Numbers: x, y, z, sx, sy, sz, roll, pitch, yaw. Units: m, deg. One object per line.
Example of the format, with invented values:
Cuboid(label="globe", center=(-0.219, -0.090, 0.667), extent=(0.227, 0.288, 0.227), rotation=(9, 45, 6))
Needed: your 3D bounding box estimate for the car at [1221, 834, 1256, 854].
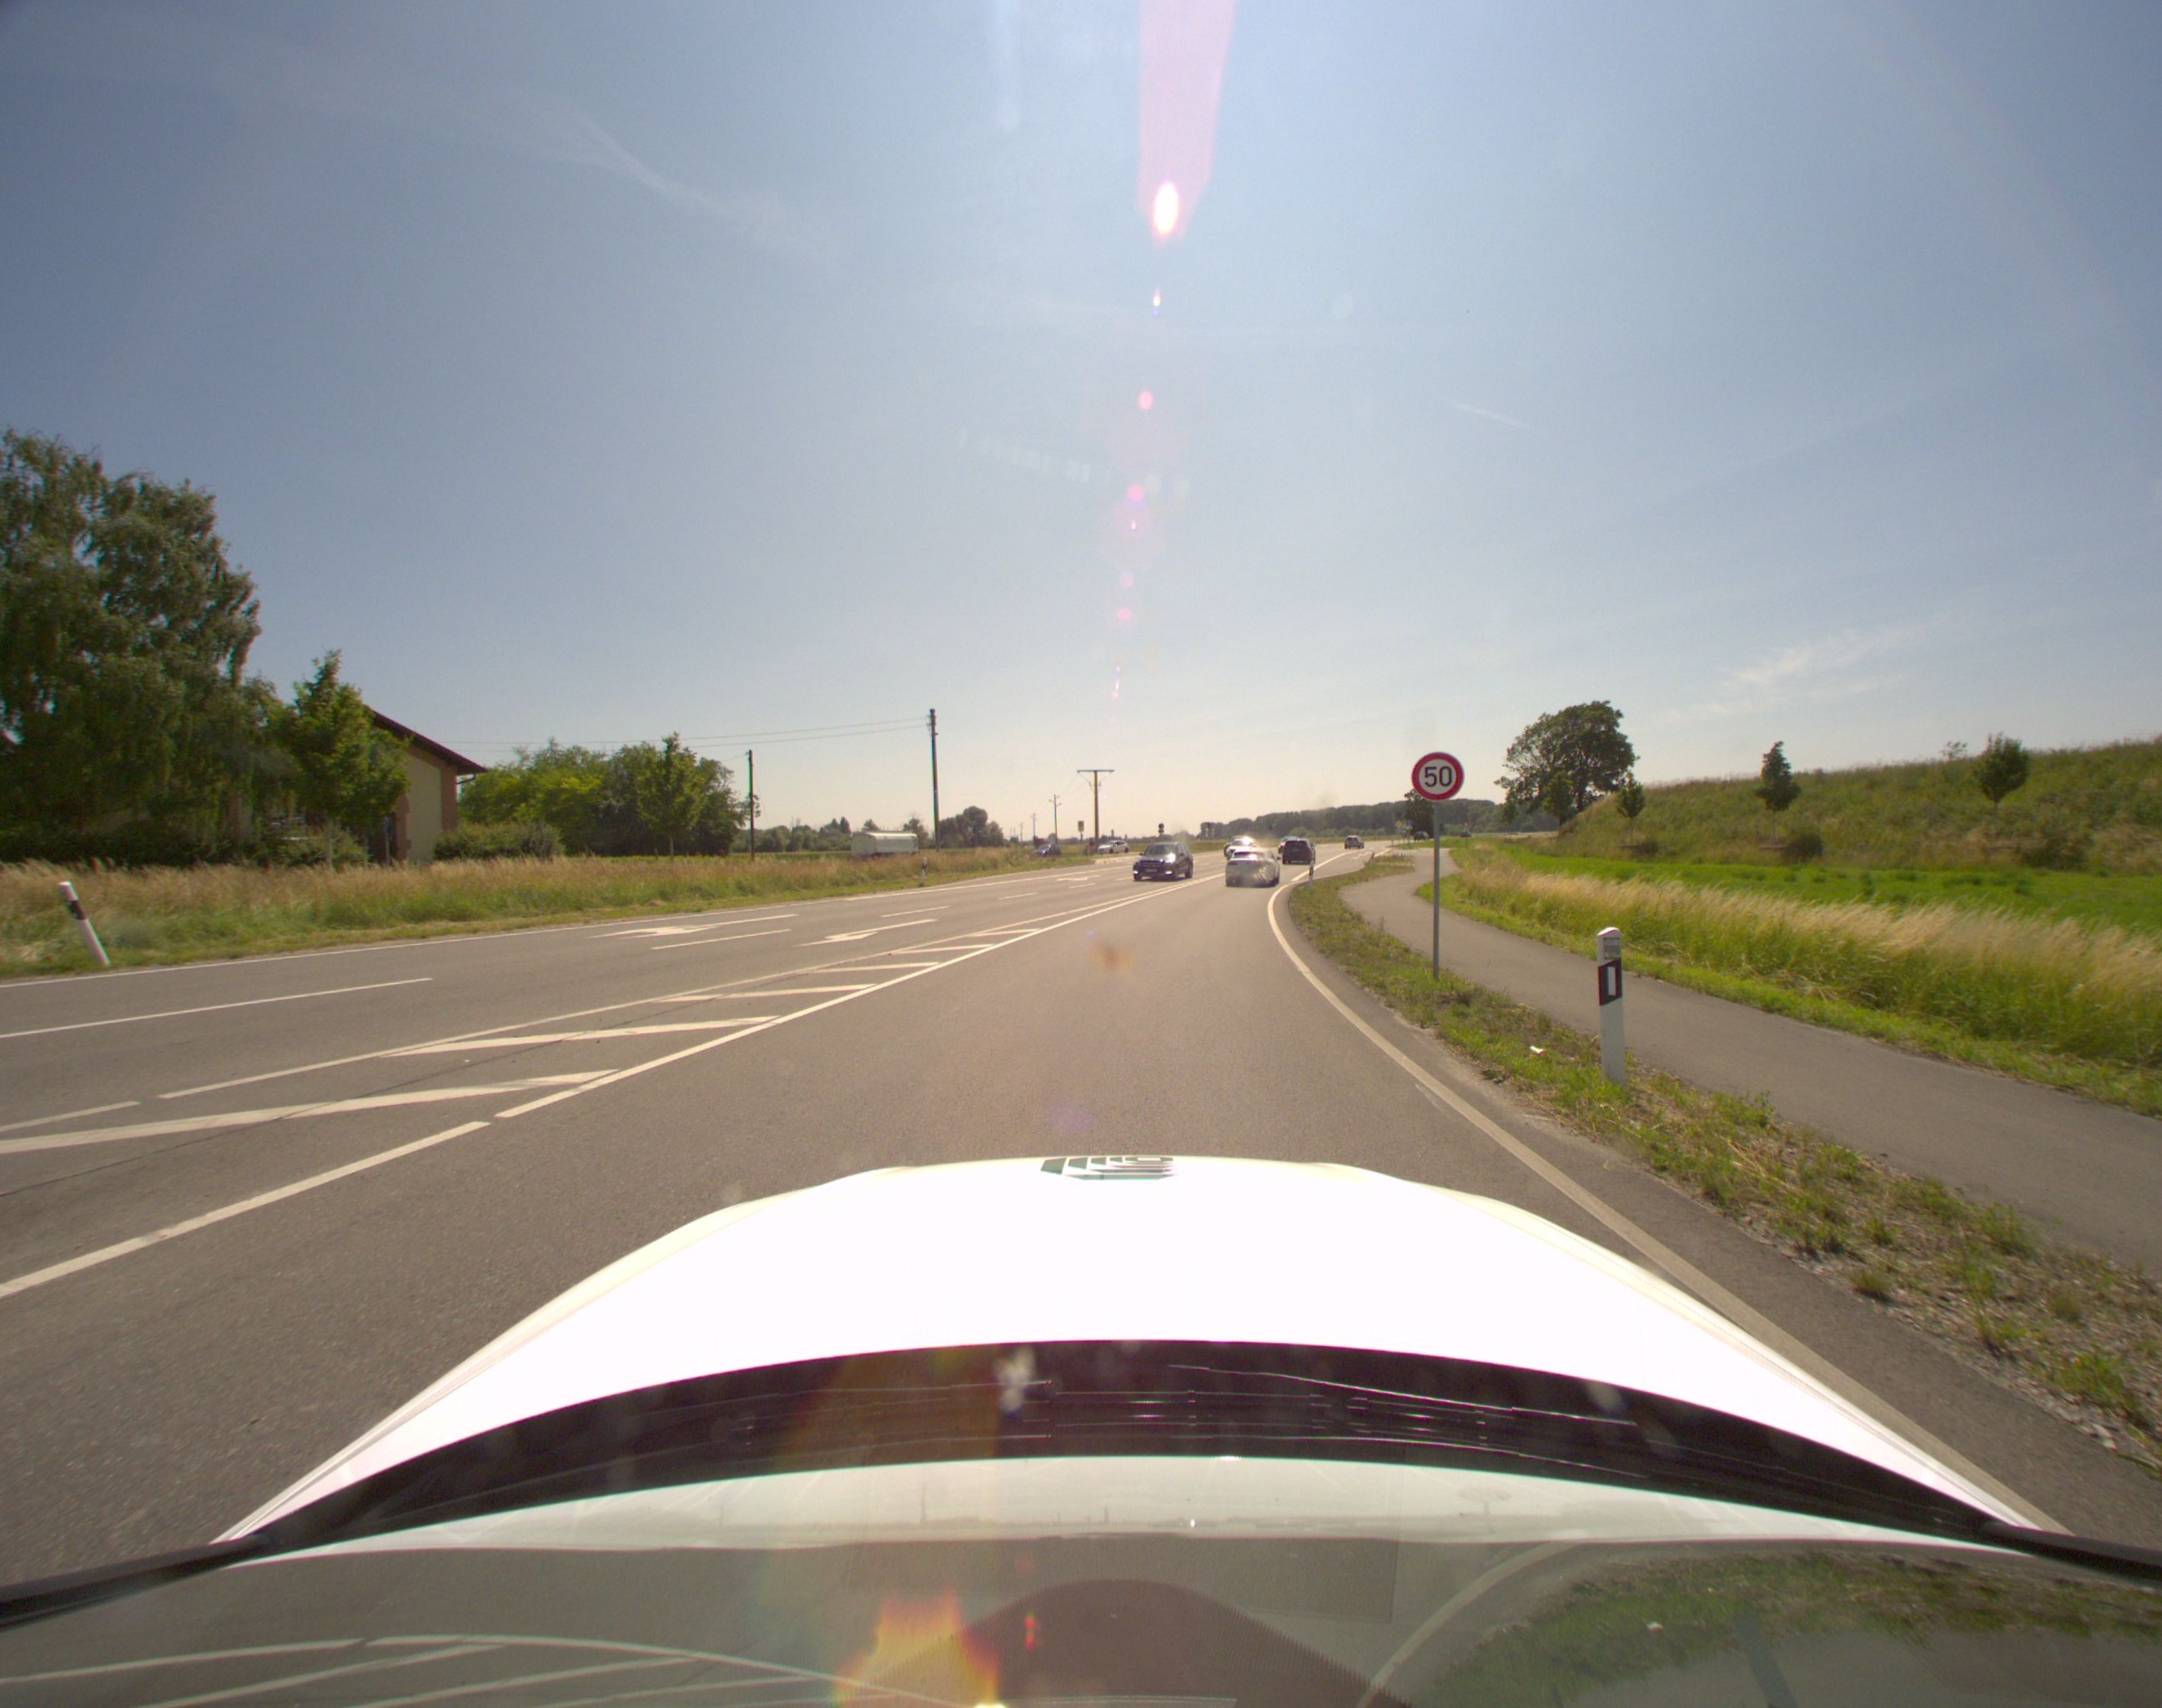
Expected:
Cuboid(label="car", center=(13.682, -0.889, 70.436), extent=(1.944, 1.650, 4.816), rotation=(0, 1, 23))

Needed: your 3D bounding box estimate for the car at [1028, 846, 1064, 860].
Cuboid(label="car", center=(-3.338, -0.110, 78.444), extent=(1.658, 1.387, 3.862), rotation=(0, 0, 28))

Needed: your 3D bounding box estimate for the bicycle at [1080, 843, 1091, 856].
Cuboid(label="bicycle", center=(0.437, -0.472, 82.313), extent=(0.486, 1.248, 1.520), rotation=(0, 0, 29))

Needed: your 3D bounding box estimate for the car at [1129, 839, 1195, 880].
Cuboid(label="car", center=(3.603, 0.180, 35.511), extent=(1.850, 1.650, 4.349), rotation=(0, 1, 19))

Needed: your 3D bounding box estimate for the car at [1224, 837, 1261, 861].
Cuboid(label="car", center=(11.603, -0.383, 58.173), extent=(1.862, 1.650, 4.868), rotation=(0, 1, 20))

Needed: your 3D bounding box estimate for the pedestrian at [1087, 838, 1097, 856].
Cuboid(label="pedestrian", center=(1.109, -0.744, 82.390), extent=(0.603, 1.785, 0.851), rotation=(0, 0, 29))

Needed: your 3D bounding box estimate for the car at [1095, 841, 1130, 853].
Cuboid(label="car", center=(3.563, -0.837, 91.145), extent=(1.676, 1.332, 4.061), rotation=(1, 1, 44))

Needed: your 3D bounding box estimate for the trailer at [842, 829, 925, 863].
Cuboid(label="trailer", center=(-14.750, -0.649, 61.276), extent=(2.654, 2.455, 6.419), rotation=(0, 1, 24))

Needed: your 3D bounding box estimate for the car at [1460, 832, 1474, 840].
Cuboid(label="car", center=(80.084, -3.681, 168.945), extent=(1.782, 1.522, 3.908), rotation=(-5, -1, 36))

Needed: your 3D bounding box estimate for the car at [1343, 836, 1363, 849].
Cuboid(label="car", center=(30.837, -1.340, 92.157), extent=(1.784, 1.429, 4.116), rotation=(0, 1, 24))

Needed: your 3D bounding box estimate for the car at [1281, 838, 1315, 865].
Cuboid(label="car", center=(14.434, -0.136, 54.042), extent=(1.919, 1.616, 4.398), rotation=(-2, -1, 18))

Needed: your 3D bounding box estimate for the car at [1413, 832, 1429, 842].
Cuboid(label="car", center=(55.715, -2.834, 133.288), extent=(1.782, 1.476, 4.442), rotation=(-2, -1, 31))

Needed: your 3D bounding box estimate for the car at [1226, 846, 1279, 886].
Cuboid(label="car", center=(6.751, 0.413, 31.761), extent=(1.834, 1.433, 4.625), rotation=(0, 0, 14))
